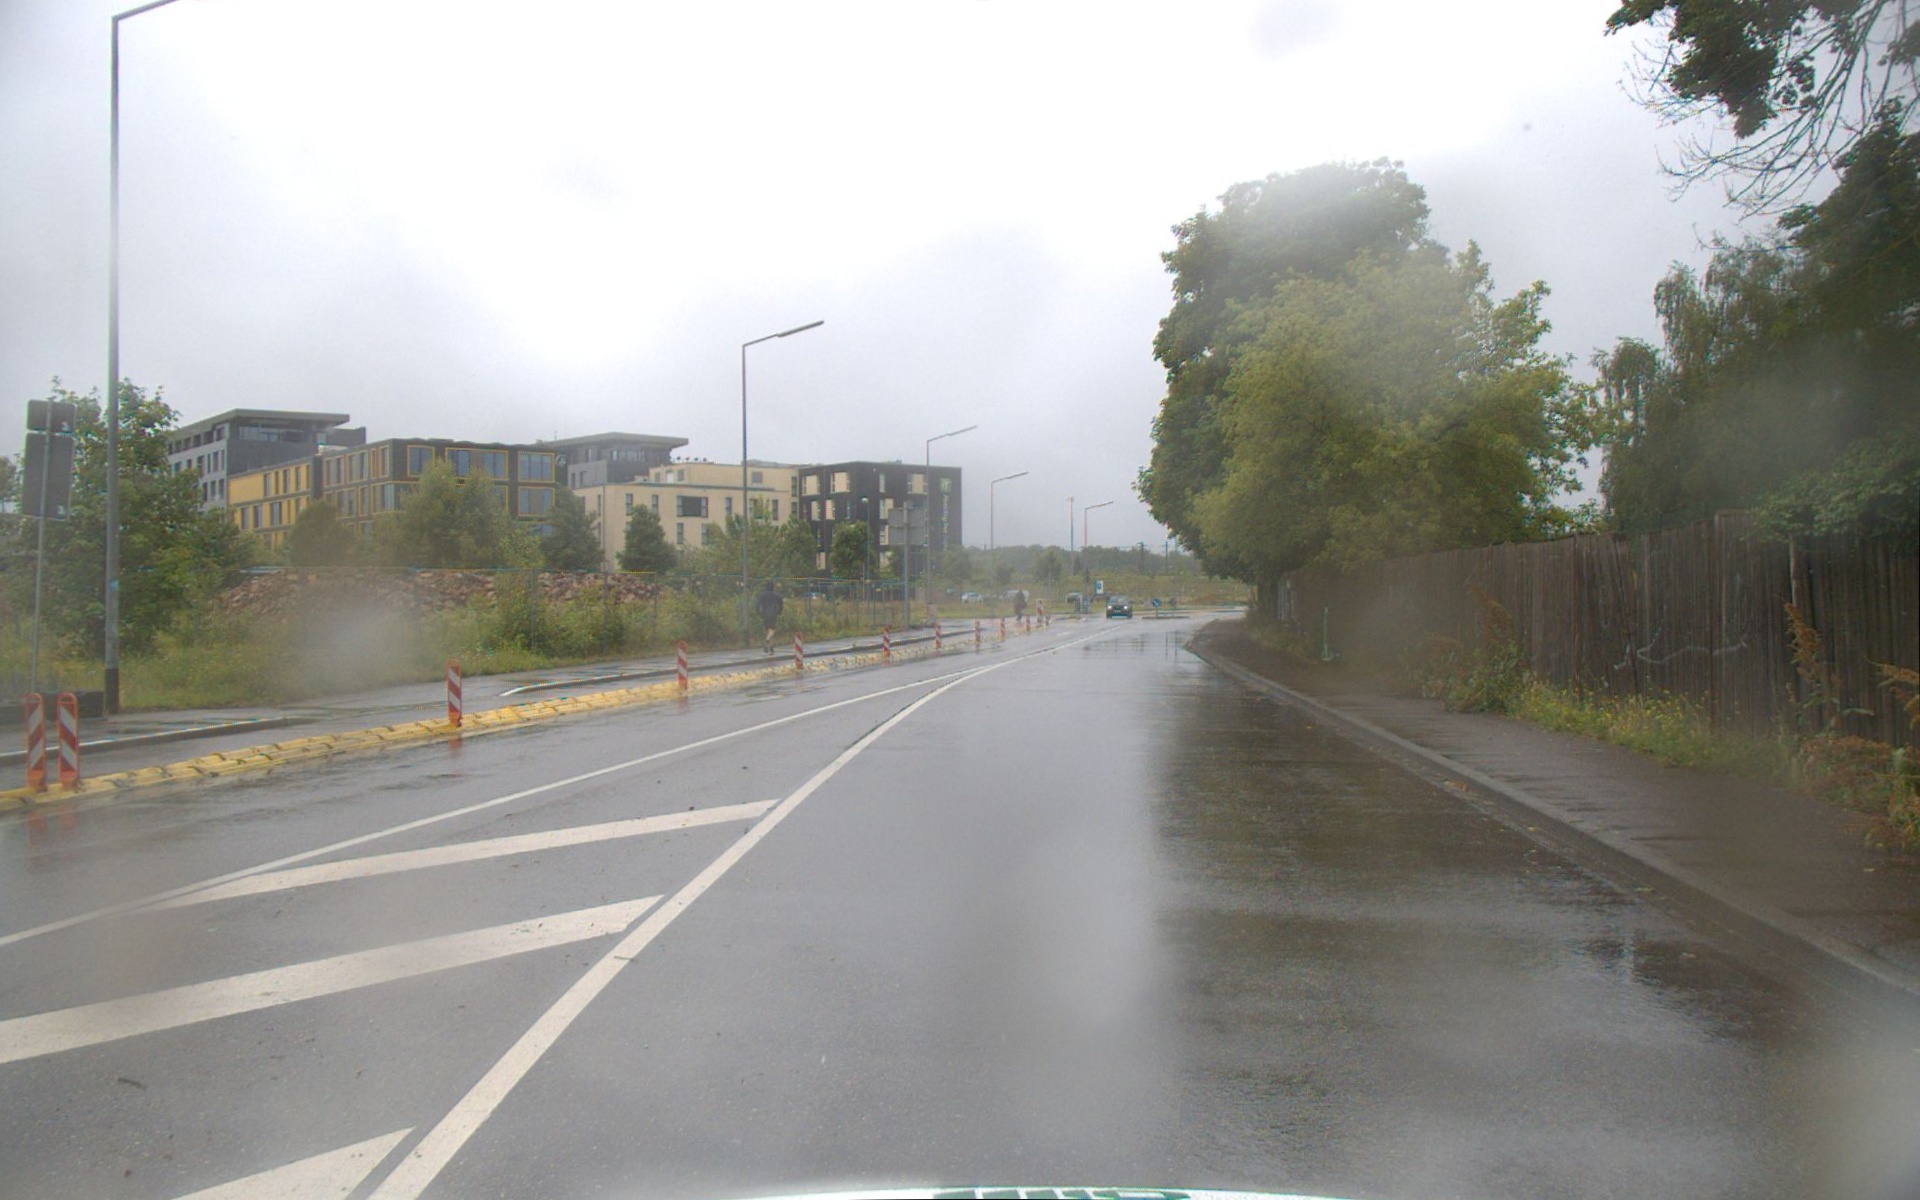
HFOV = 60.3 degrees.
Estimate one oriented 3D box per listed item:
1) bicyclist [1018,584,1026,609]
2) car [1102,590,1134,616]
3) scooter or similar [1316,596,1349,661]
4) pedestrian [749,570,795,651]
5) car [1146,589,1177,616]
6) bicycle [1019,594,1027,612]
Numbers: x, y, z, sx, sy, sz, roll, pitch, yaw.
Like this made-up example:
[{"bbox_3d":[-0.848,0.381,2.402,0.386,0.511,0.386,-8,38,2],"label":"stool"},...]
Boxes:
[{"bbox_3d":[3.610,-0.202,95.919,0.434,1.428,0.550,0,-2,5],"label":"bicyclist"},{"bbox_3d":[10.930,0.206,114.274,1.951,1.803,4.003,0,0,8],"label":"car"},{"bbox_3d":[7.294,0.547,32.416,0.480,1.256,1.371,0,0,6],"label":"scooter or similar"},{"bbox_3d":[-4.792,0.286,42.230,0.828,2.049,1.132,-1,-2,12],"label":"pedestrian"},{"bbox_3d":[14.765,0.189,121.100,1.951,1.803,4.003,0,-2,11],"label":"car"},{"bbox_3d":[3.649,0.149,95.784,0.418,1.037,1.613,0,0,4],"label":"bicycle"}]
